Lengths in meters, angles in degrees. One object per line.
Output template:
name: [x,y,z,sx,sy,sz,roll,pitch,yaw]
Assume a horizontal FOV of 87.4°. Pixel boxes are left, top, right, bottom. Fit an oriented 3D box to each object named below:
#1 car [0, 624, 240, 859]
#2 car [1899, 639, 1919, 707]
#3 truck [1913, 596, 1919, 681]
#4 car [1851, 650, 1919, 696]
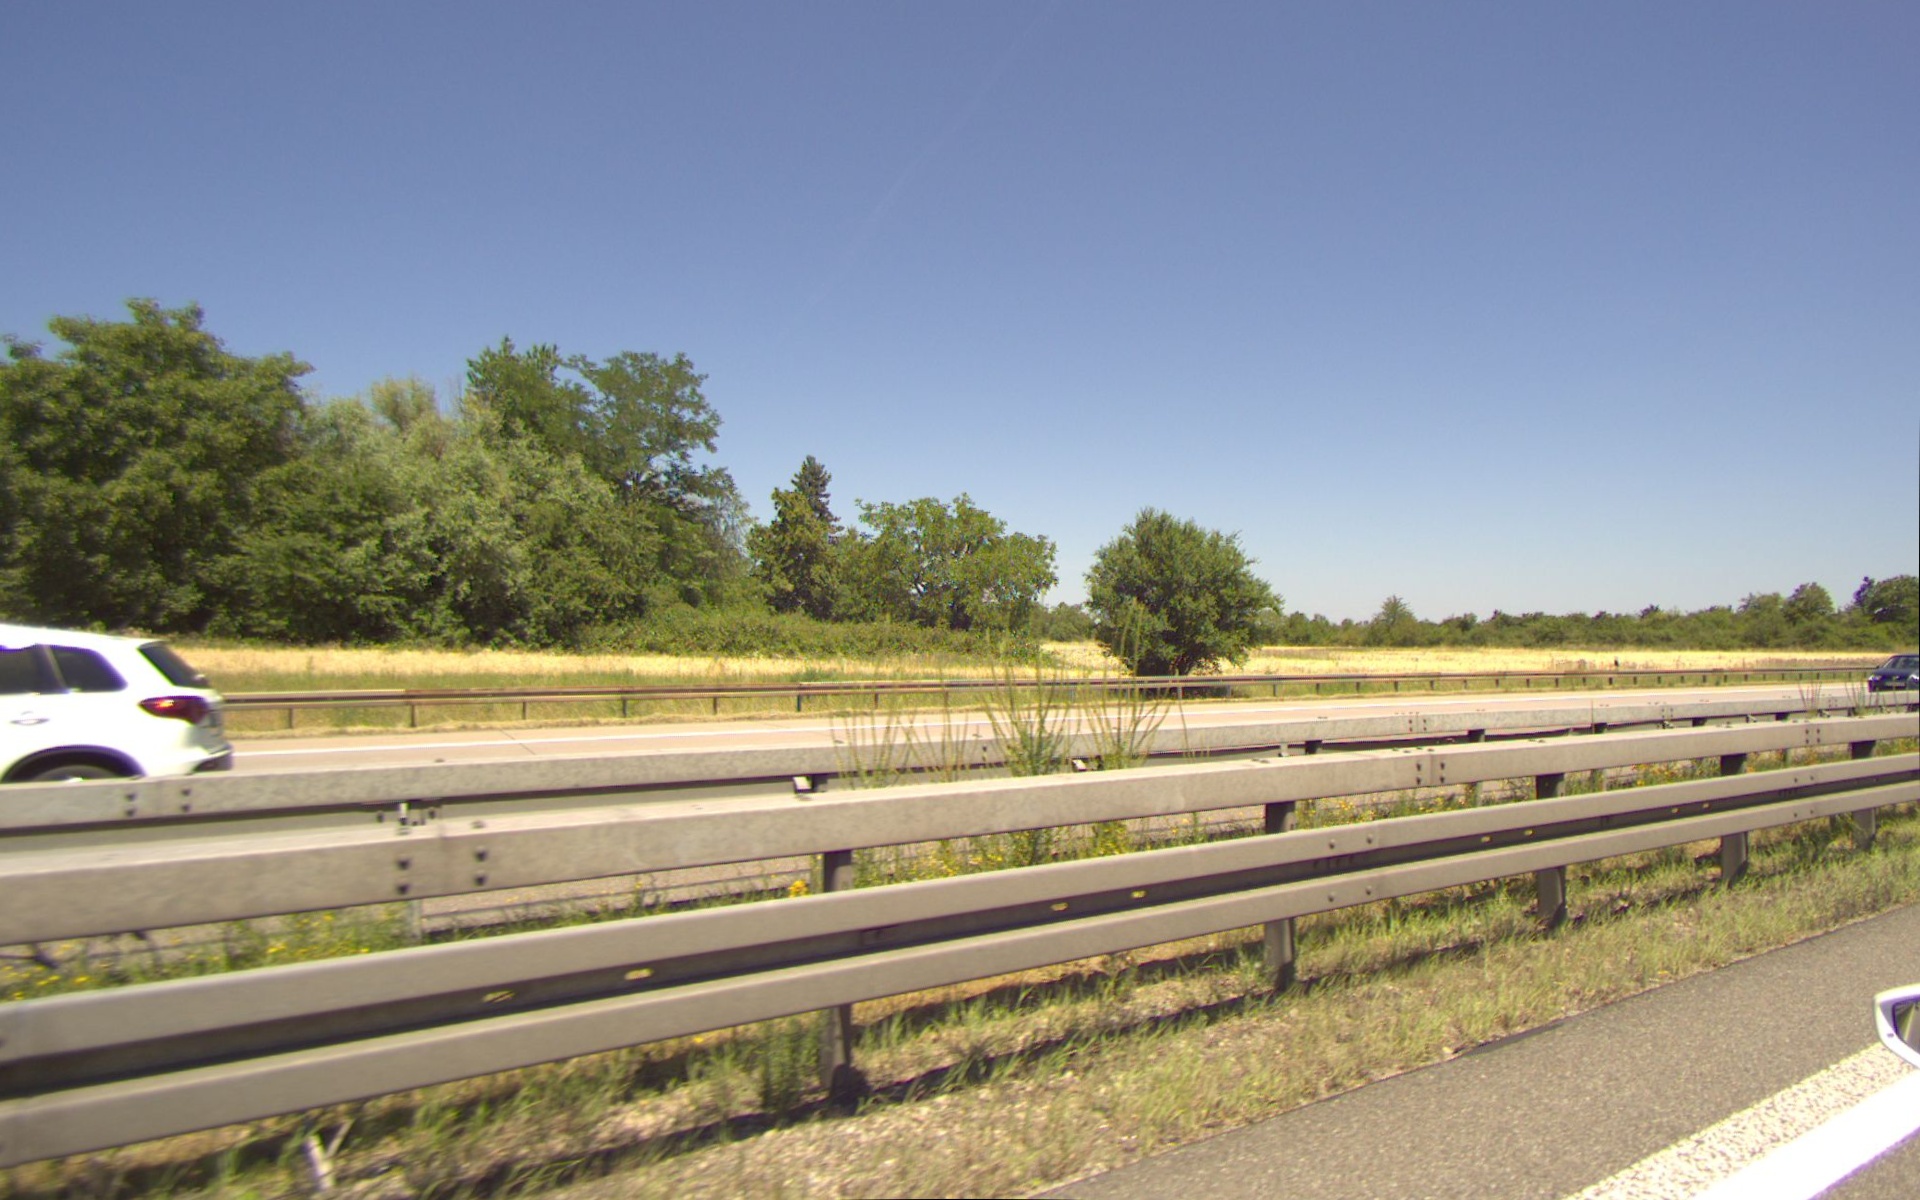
car: [-7.568,0.957,7.022,3.916,1.556,1.800,2,-3,-31]
car: [25.596,1.832,25.305,3.916,1.669,1.800,2,-3,-31]
truck: [49.104,1.873,48.657,5.685,4.066,2.748,1,-3,-31]
car: [31.718,2.400,33.659,3.634,1.470,1.725,2,-3,-30]
